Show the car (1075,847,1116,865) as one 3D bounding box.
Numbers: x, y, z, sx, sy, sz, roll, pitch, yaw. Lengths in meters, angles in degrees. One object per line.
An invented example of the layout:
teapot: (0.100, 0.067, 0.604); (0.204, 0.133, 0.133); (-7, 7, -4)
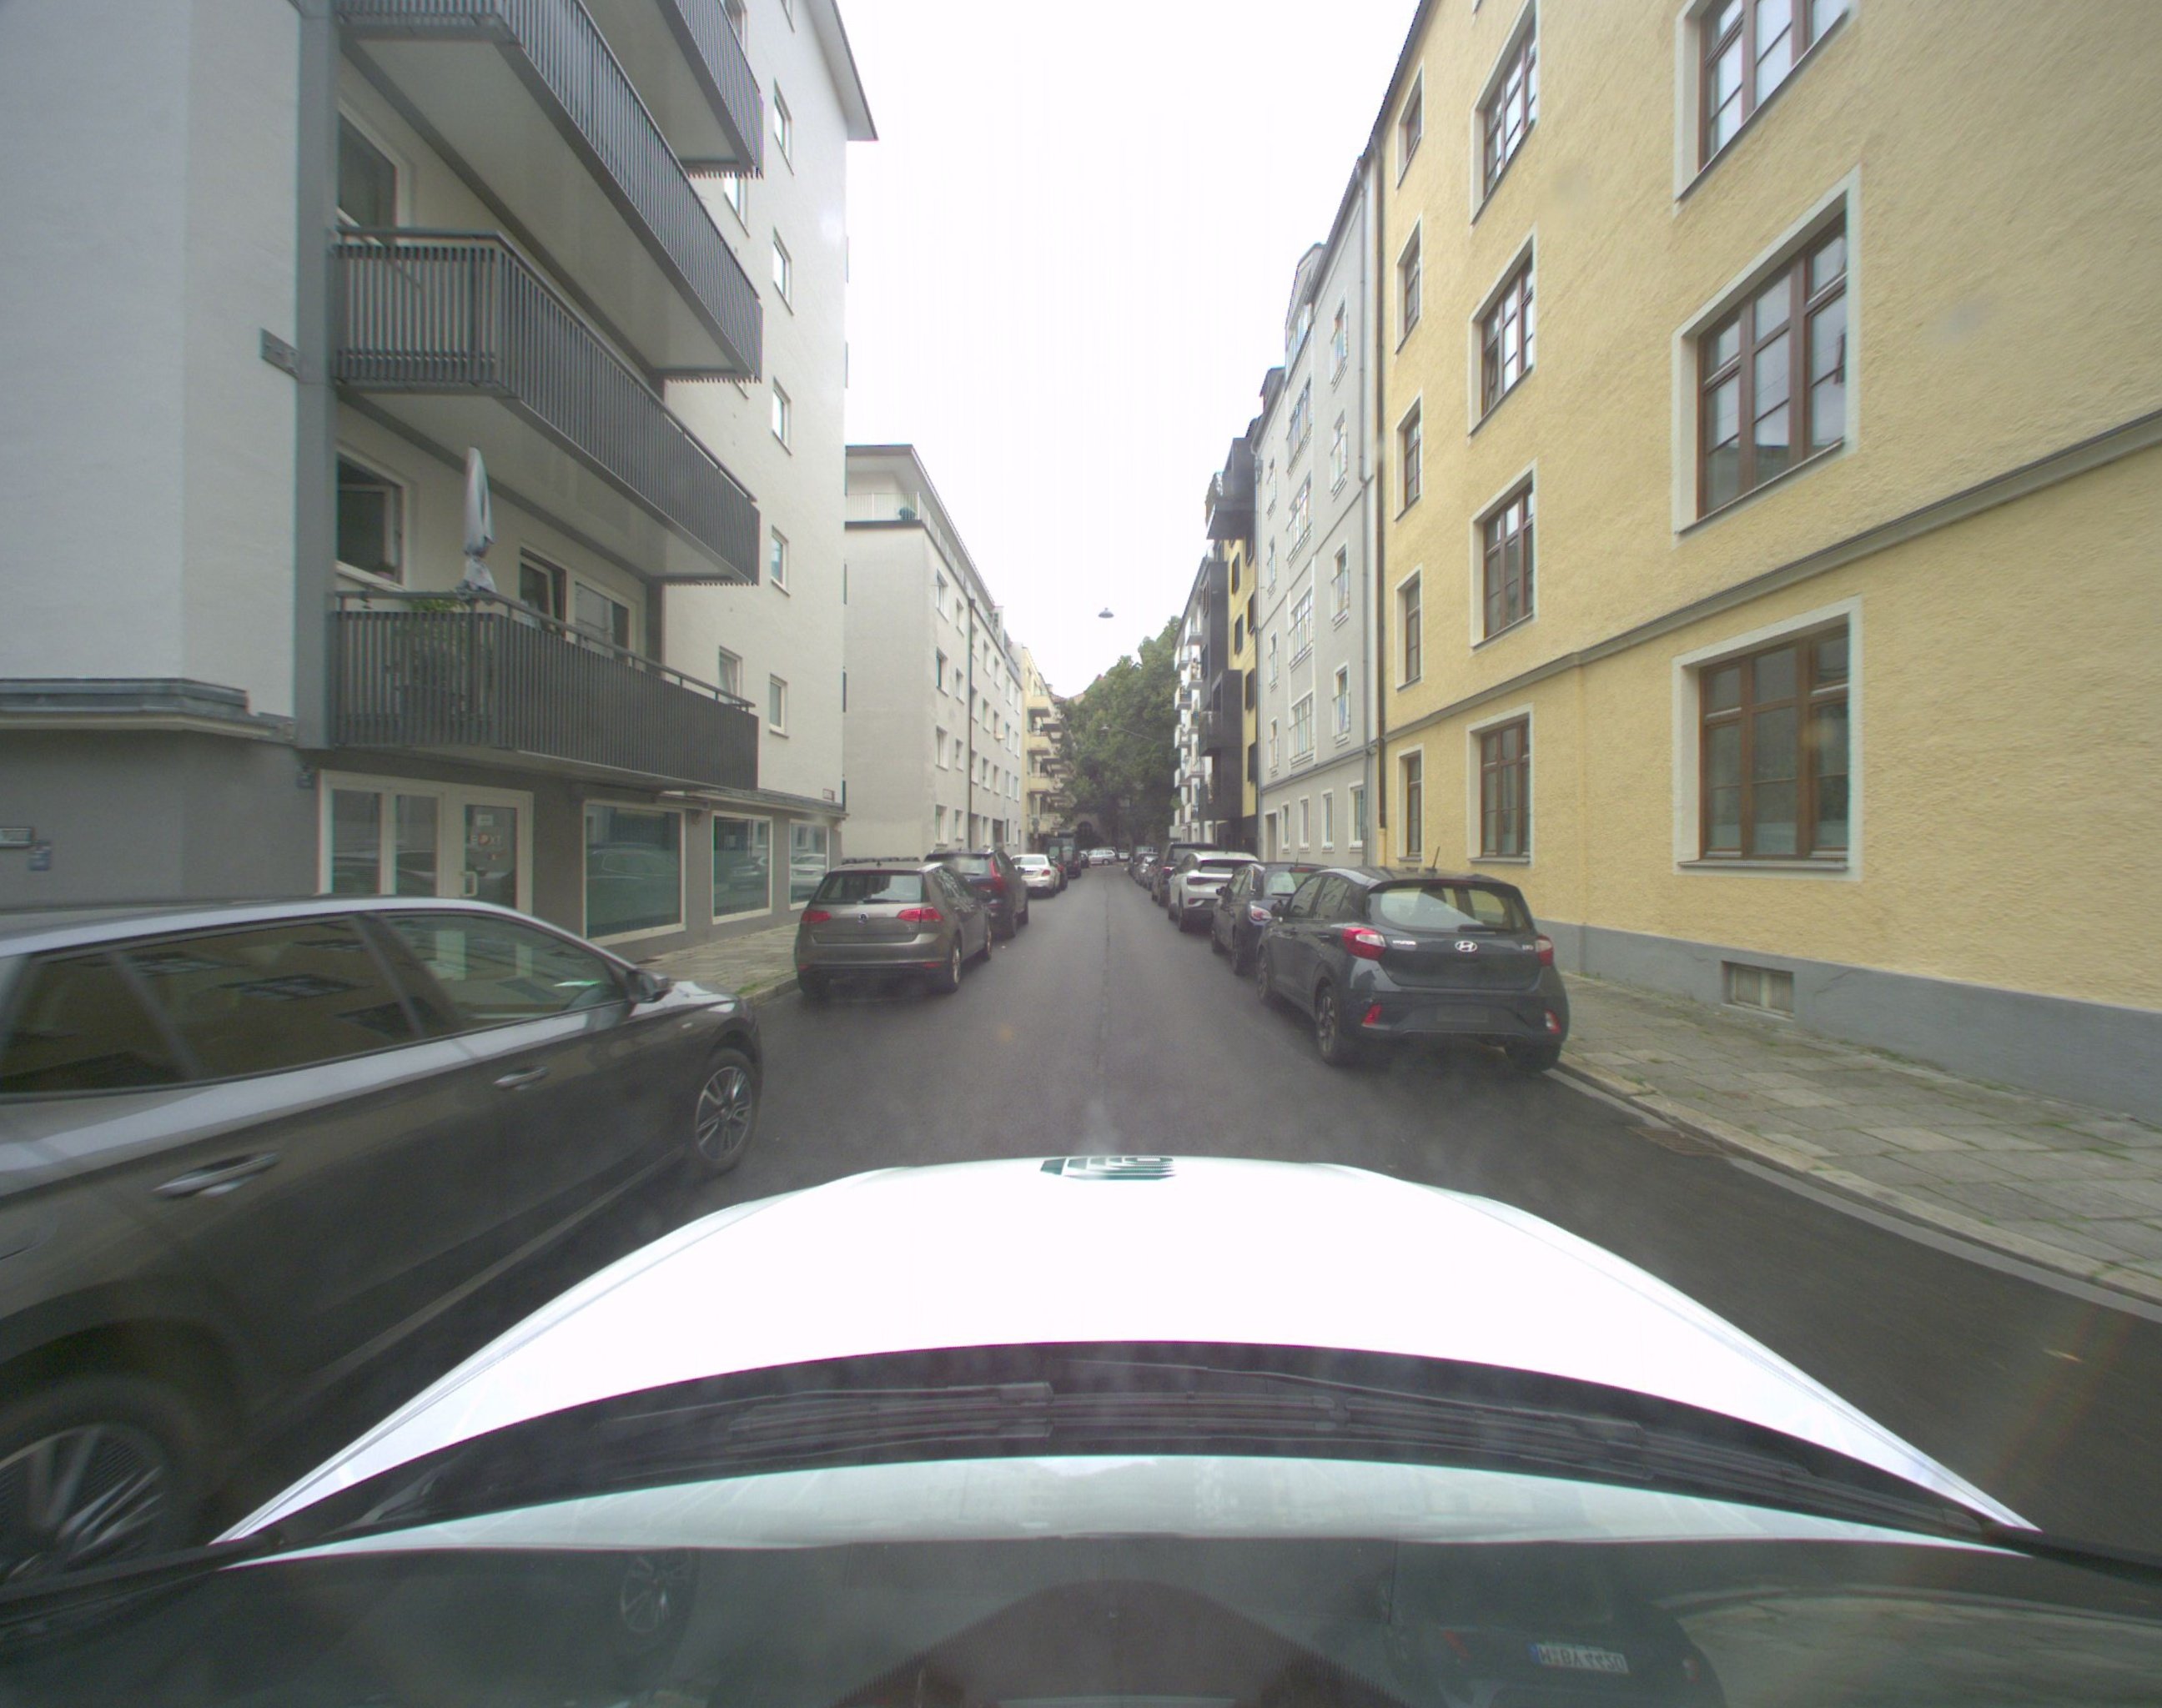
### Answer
car: (1.430, 0.219, 79.548); (3.873, 1.584, 1.648); (-3, 0, 0)

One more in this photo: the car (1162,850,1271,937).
car: (2.783, 0.728, 17.607); (1.676, 1.567, 4.417); (2, 0, 1)

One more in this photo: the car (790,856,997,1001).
car: (-2.150, 0.774, 10.440); (1.687, 1.442, 3.977); (-1, 0, 0)

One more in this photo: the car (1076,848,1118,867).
car: (1.537, 0.346, 77.574); (3.873, 1.584, 1.648); (-3, 0, 0)

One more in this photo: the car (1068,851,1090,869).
car: (-0.160, 0.498, 67.688); (1.636, 1.383, 3.483); (-3, 0, 1)

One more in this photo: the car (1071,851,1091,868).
car: (-0.002, 0.475, 71.533); (1.636, 1.383, 3.483); (-3, 0, 1)

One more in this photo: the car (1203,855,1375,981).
car: (2.866, 0.795, 12.012); (1.657, 1.469, 3.821); (2, 0, 2)

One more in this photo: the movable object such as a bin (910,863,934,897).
movable object such as a bin: (-4.960, 0.813, 25.377); (0.649, 1.020, 0.584); (2, 0, -5)

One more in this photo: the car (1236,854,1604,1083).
car: (2.745, 0.789, 7.778); (1.744, 1.469, 4.344); (2, 0, 1)

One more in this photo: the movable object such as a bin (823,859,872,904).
movable object such as a bin: (-7.252, 0.842, 25.338); (1.152, 1.337, 0.994); (-2, 0, 4)

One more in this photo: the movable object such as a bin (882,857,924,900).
movable object such as a bin: (-5.814, 0.777, 26.618); (1.043, 1.337, 0.994); (-2, 0, 4)

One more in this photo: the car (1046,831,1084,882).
car: (-0.910, 0.125, 49.040); (1.929, 2.801, 4.534); (-3, 0, 1)

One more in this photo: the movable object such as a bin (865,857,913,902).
movable object such as a bin: (-5.999, 0.788, 25.544); (1.161, 1.337, 1.026); (-2, 0, 4)

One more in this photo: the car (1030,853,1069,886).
car: (-1.487, 0.719, 39.475); (1.636, 1.453, 3.163); (-3, 0, 1)

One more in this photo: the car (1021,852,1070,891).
car: (-1.438, 0.702, 34.414); (1.770, 1.453, 4.047); (-3, 0, 1)

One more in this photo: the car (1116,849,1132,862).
car: (4.995, 0.126, 94.603); (1.636, 1.383, 3.747); (-3, 0, 1)

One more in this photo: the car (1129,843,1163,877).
car: (4.088, 0.360, 51.827); (1.823, 1.999, 4.417); (3, 0, 1)

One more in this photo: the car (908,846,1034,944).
car: (-1.997, 0.687, 16.105); (1.770, 1.629, 4.416); (-1, 0, 1)

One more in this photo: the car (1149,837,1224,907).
car: (3.168, 0.491, 25.193); (1.822, 1.910, 4.417); (2, 0, 2)

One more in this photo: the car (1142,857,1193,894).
car: (3.756, 0.904, 36.138); (1.823, 1.453, 4.417); (3, 0, 1)

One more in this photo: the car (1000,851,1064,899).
car: (-1.681, 0.693, 29.191); (1.770, 1.487, 4.522); (-3, 0, 2)

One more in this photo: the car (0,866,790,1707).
car: (-2.557, 0.814, 2.582); (1.686, 1.442, 3.944); (-1, 0, 2)

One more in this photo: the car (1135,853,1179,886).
car: (3.808, 0.749, 41.375); (1.823, 1.453, 4.417); (3, 0, 1)
